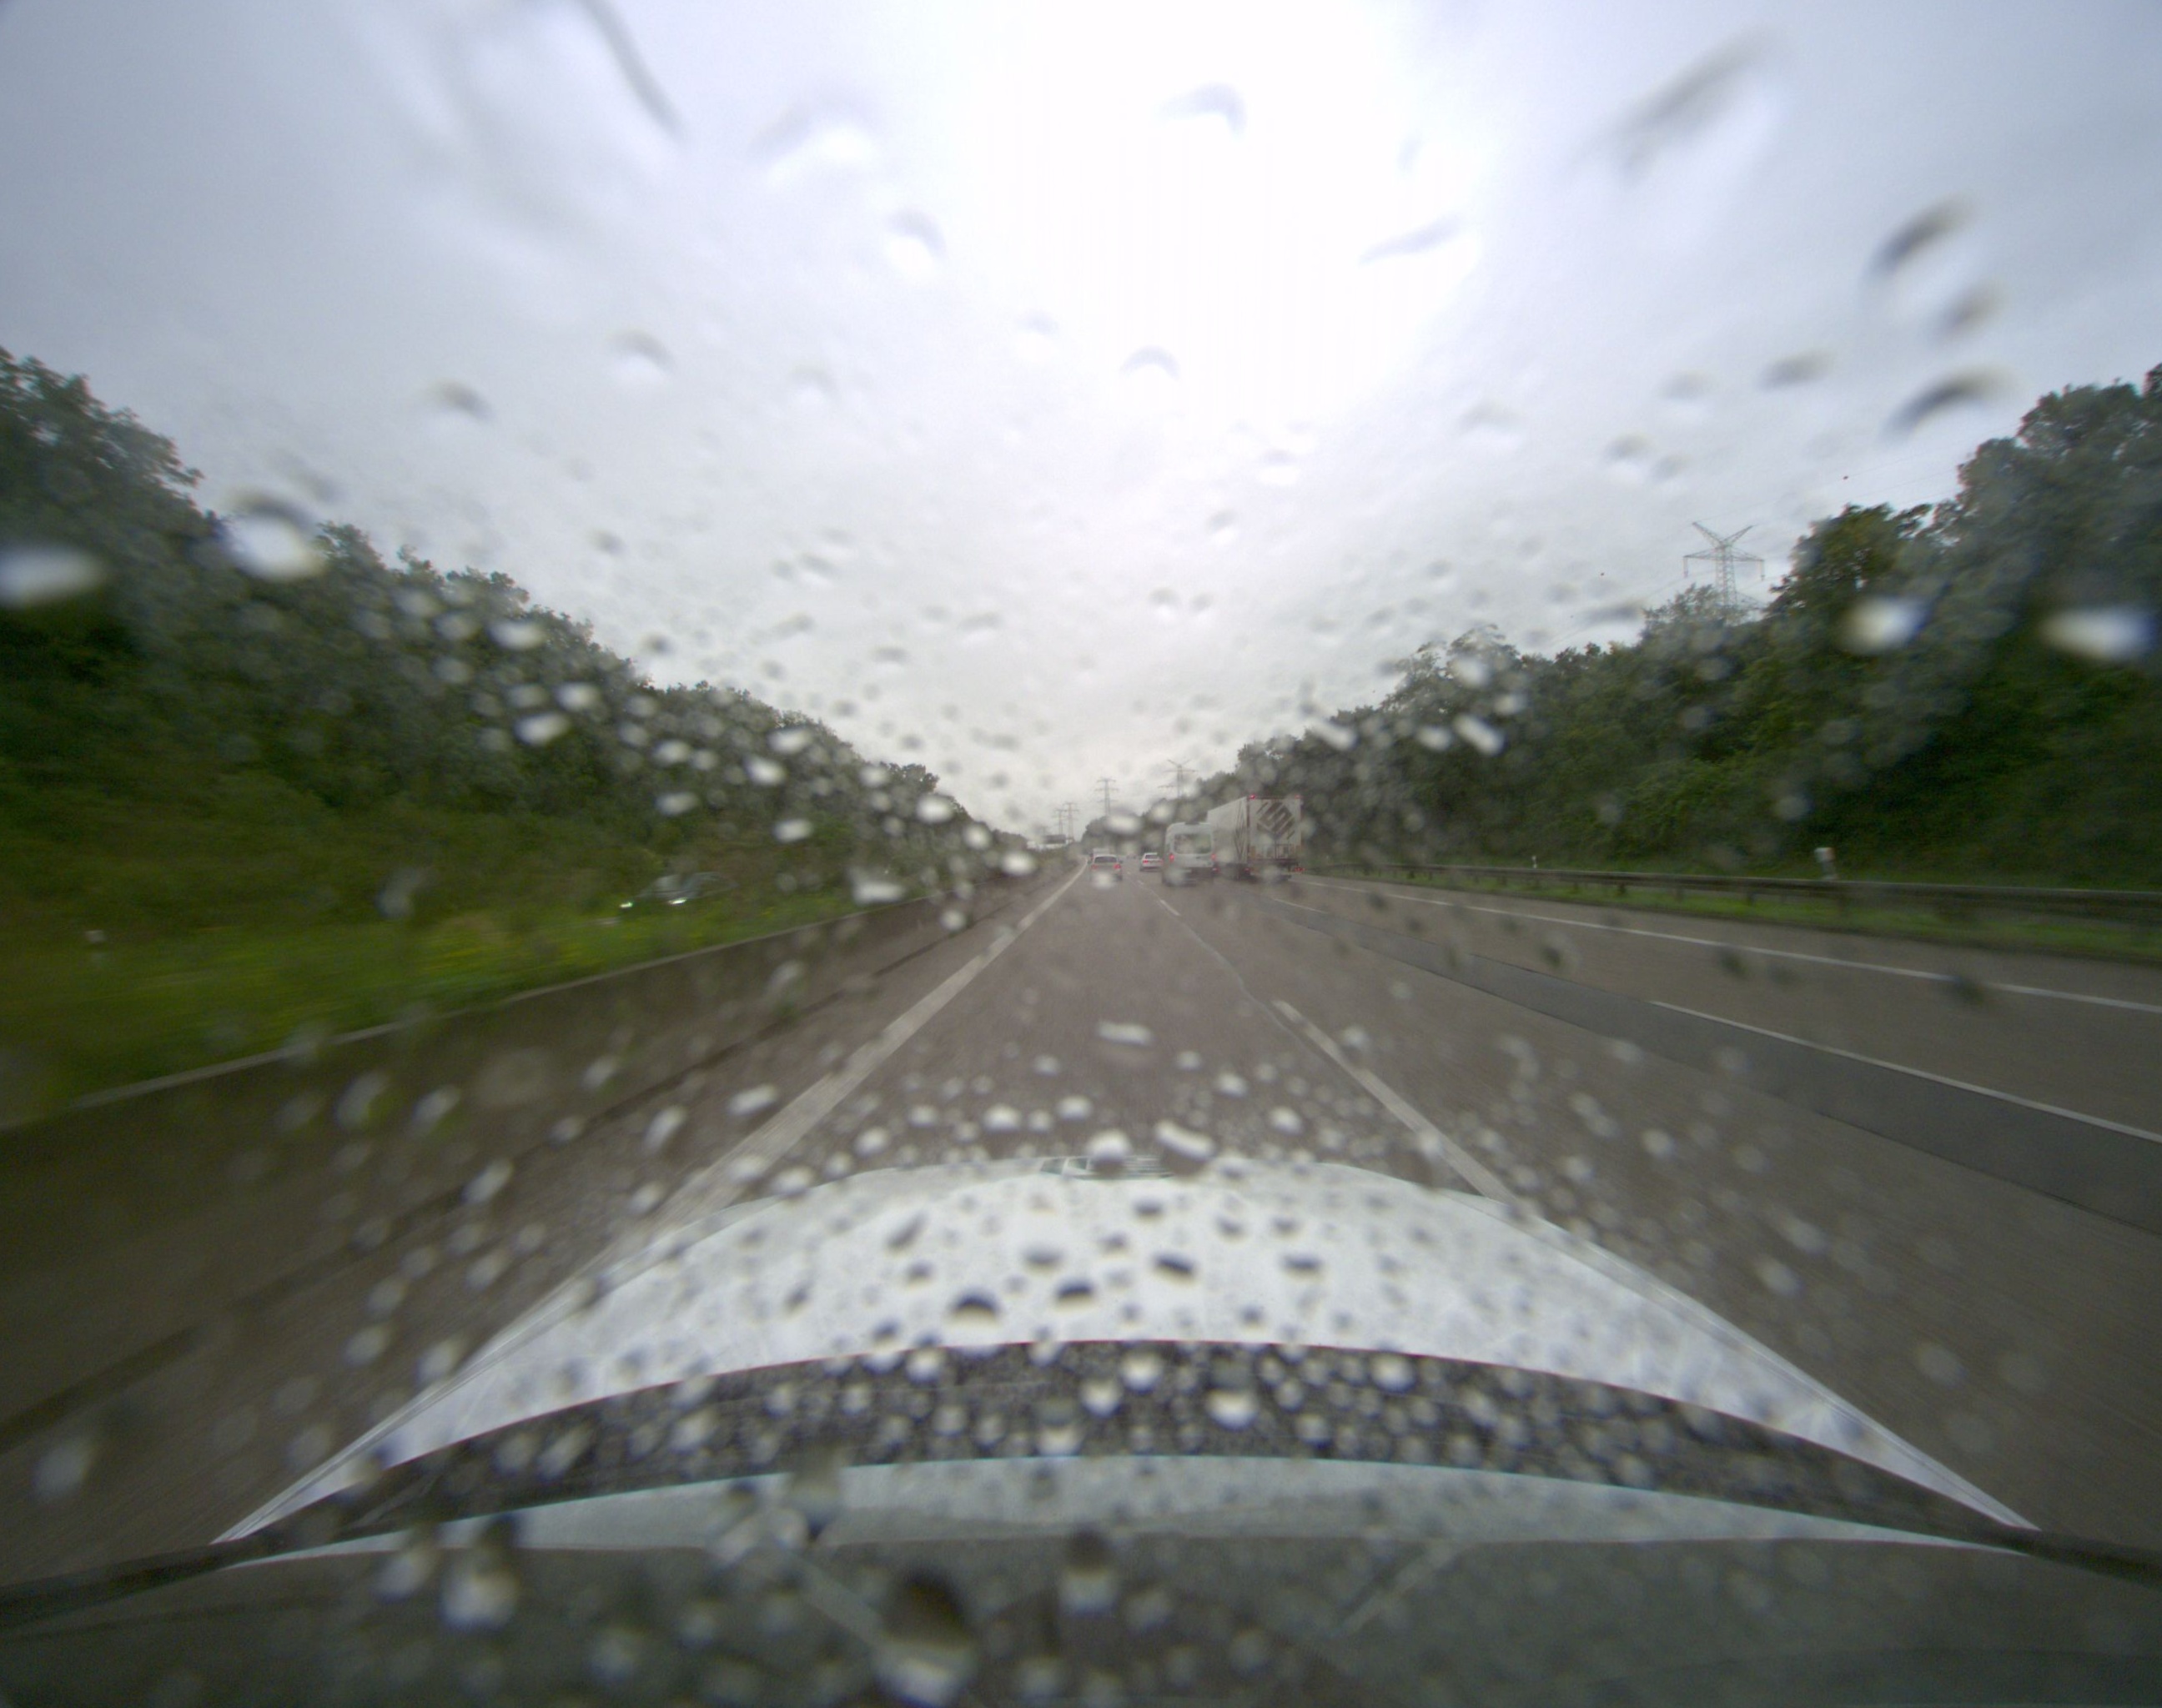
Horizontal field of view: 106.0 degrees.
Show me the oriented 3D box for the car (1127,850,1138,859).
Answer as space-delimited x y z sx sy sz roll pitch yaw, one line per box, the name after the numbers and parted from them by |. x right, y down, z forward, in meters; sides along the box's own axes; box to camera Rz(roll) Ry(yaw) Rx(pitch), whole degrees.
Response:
10.251 0.129 161.809 1.984 1.486 4.005 -4 -1 4 | car

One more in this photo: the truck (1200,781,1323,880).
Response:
9.012 -0.973 42.934 3.591 4.332 13.199 -2 -1 1 | truck

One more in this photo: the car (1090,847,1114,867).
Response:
1.935 0.273 74.231 1.837 1.772 4.005 -2 0 5 | car

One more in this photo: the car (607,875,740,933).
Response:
-12.147 1.447 24.615 1.868 1.453 4.001 -2 0 2 | car

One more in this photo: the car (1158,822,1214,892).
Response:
4.652 0.135 36.584 1.987 2.864 4.000 -2 0 1 | car

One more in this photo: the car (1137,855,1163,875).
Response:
5.300 0.842 62.395 1.847 1.422 4.007 -1 0 6 | car

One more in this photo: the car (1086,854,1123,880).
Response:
1.322 0.677 44.312 1.859 1.288 4.003 -2 0 3 | car
